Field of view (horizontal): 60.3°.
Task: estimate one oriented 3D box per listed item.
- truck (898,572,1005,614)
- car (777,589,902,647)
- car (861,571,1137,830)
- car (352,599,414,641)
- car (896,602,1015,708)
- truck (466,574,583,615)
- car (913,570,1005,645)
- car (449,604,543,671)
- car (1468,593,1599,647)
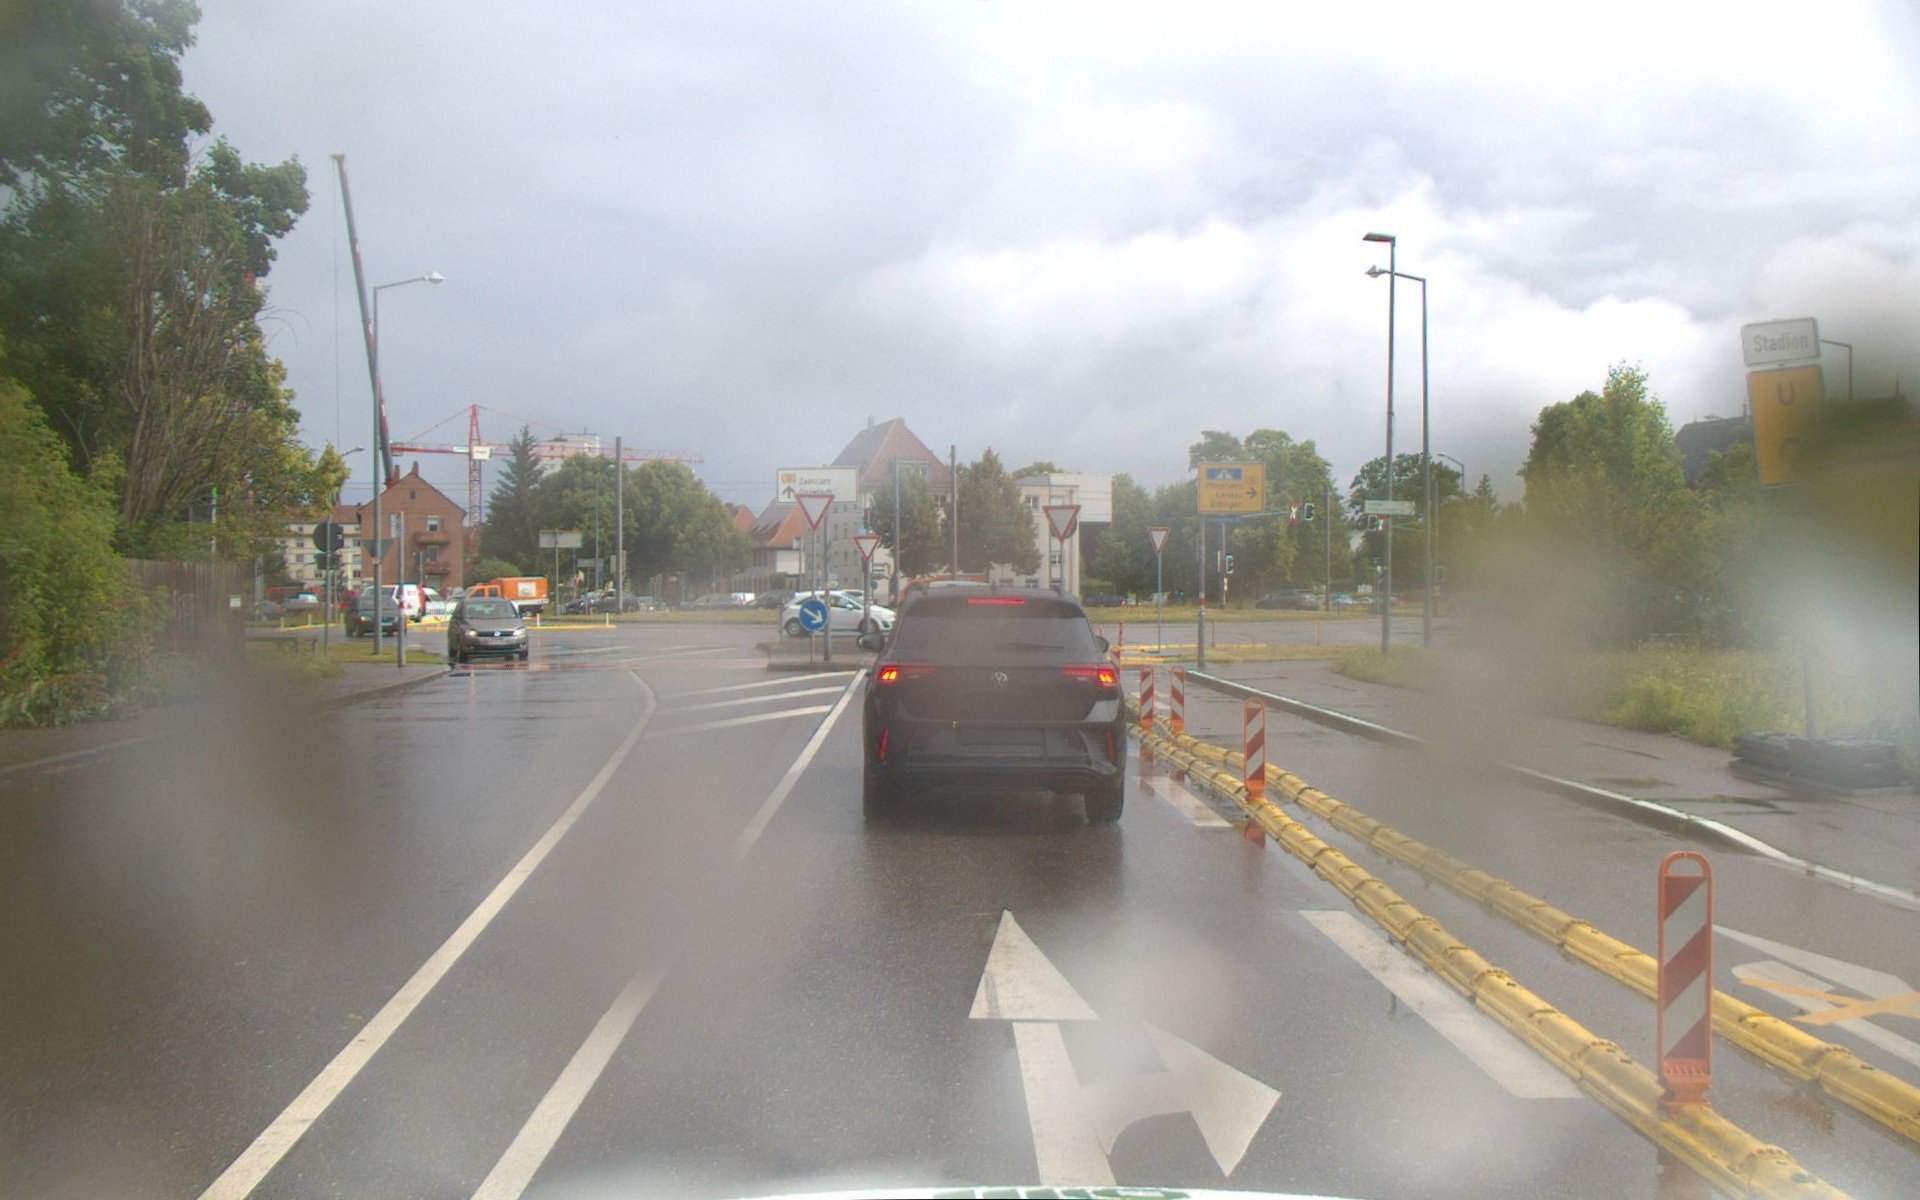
[{"bbox_3d":[-0.562,-0.426,107.906,6.923,2.696,2.329,0,0,-2],"label":"truck"},{"bbox_3d":[-3.971,0.586,54.927,3.904,1.862,2.001,0,0,2],"label":"car"},{"bbox_3d":[0.140,0.633,12.145,1.675,1.601,3.680,1,0,-4],"label":"car"},{"bbox_3d":[-21.709,0.738,62.157,1.850,1.508,4.146,0,-1,-24],"label":"car"},{"bbox_3d":[-0.127,0.811,26.124,1.701,1.540,3.601,0,0,-3],"label":"car"},{"bbox_3d":[-27.153,-0.336,103.242,6.649,2.485,2.403,-1,0,-36],"label":"truck"},{"bbox_3d":[0.040,0.165,42.885,1.824,1.841,4.407,0,0,7],"label":"car"},{"bbox_3d":[-12.296,0.967,43.659,1.757,1.579,4.394,-3,1,-23],"label":"car"},{"bbox_3d":[18.124,0.618,52.428,3.858,1.673,1.672,0,0,17],"label":"car"}]
